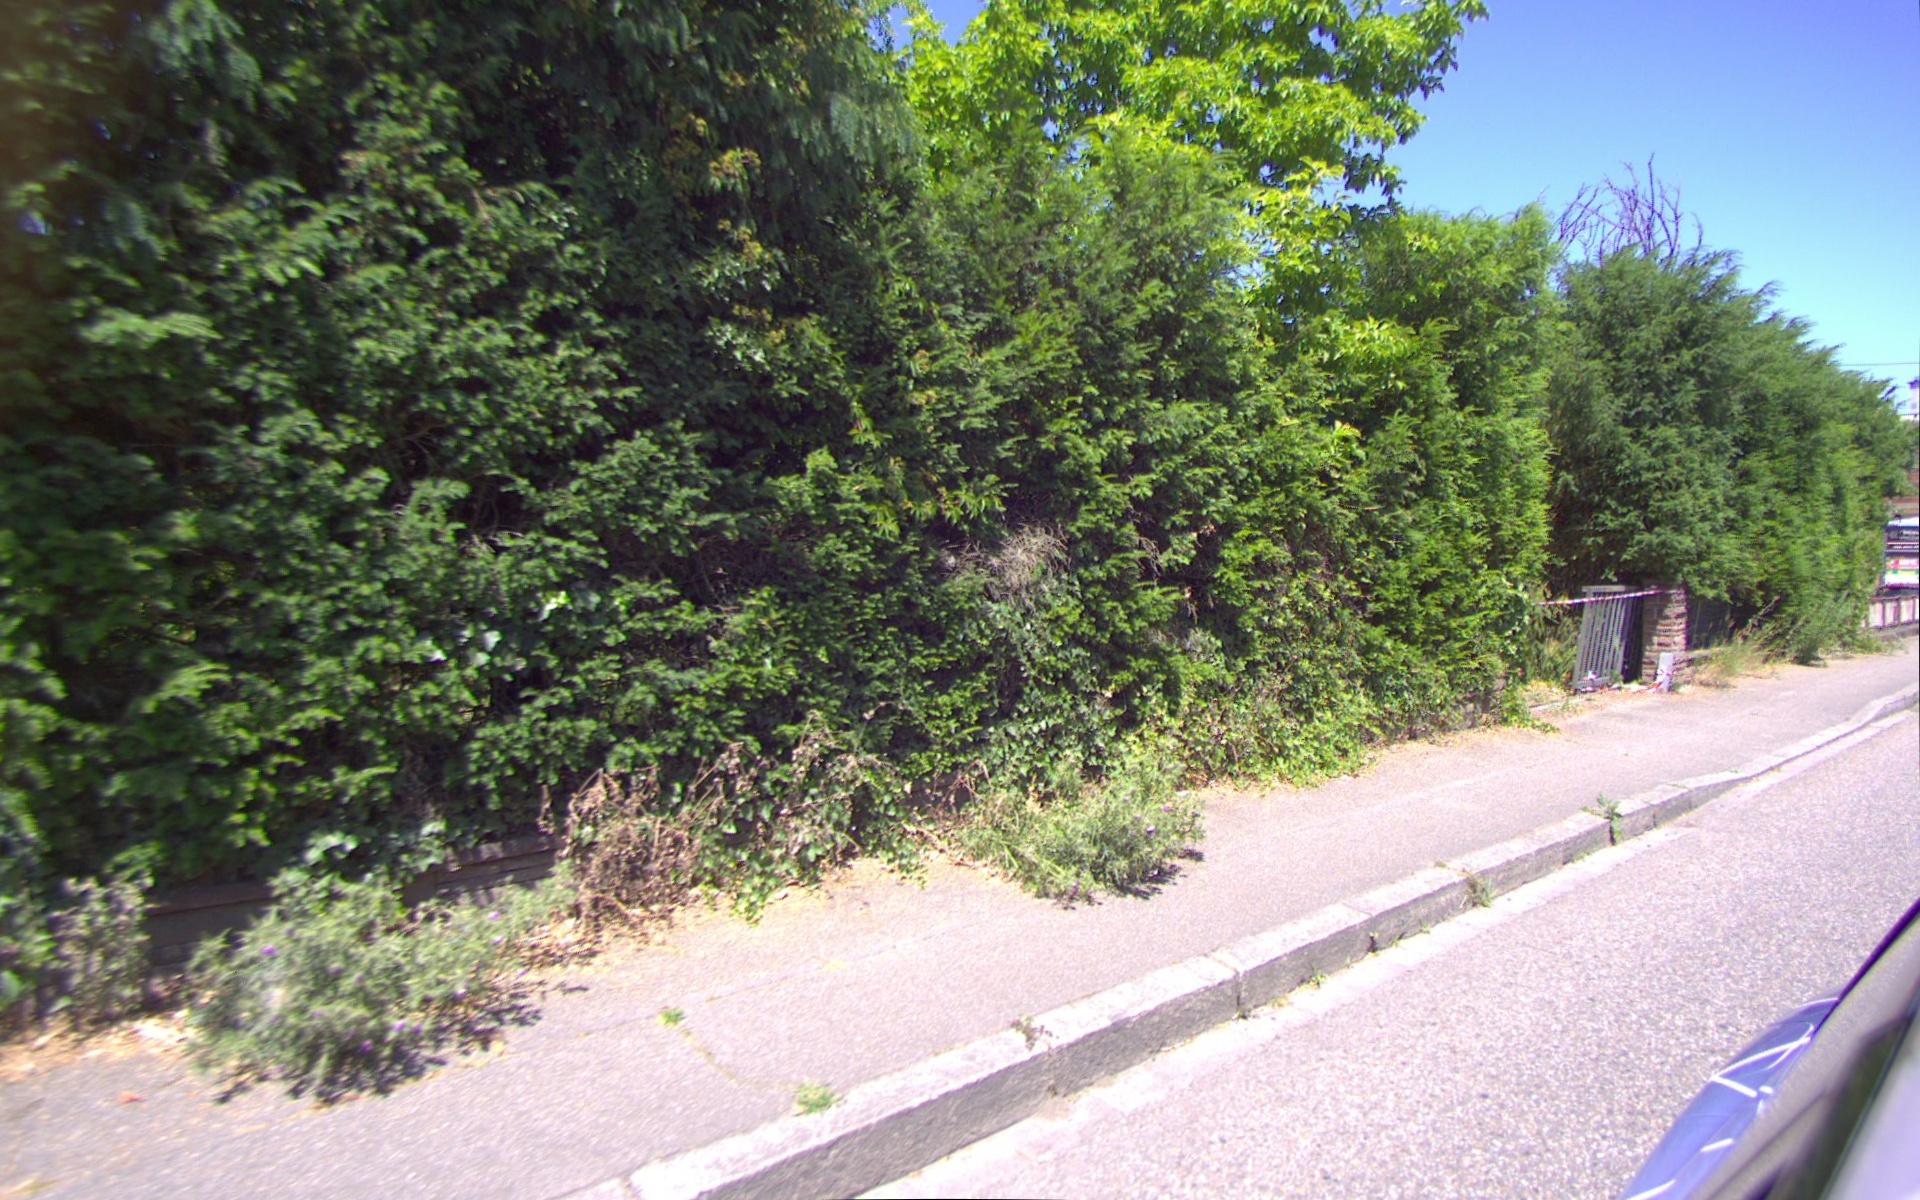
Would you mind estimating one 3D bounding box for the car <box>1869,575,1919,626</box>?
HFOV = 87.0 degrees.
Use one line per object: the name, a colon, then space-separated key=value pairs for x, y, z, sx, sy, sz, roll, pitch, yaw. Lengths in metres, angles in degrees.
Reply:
car: x=31.141 y=-0.011 z=32.580 sx=3.763 sy=1.542 sz=1.719 roll=-1 pitch=3 yaw=-31
